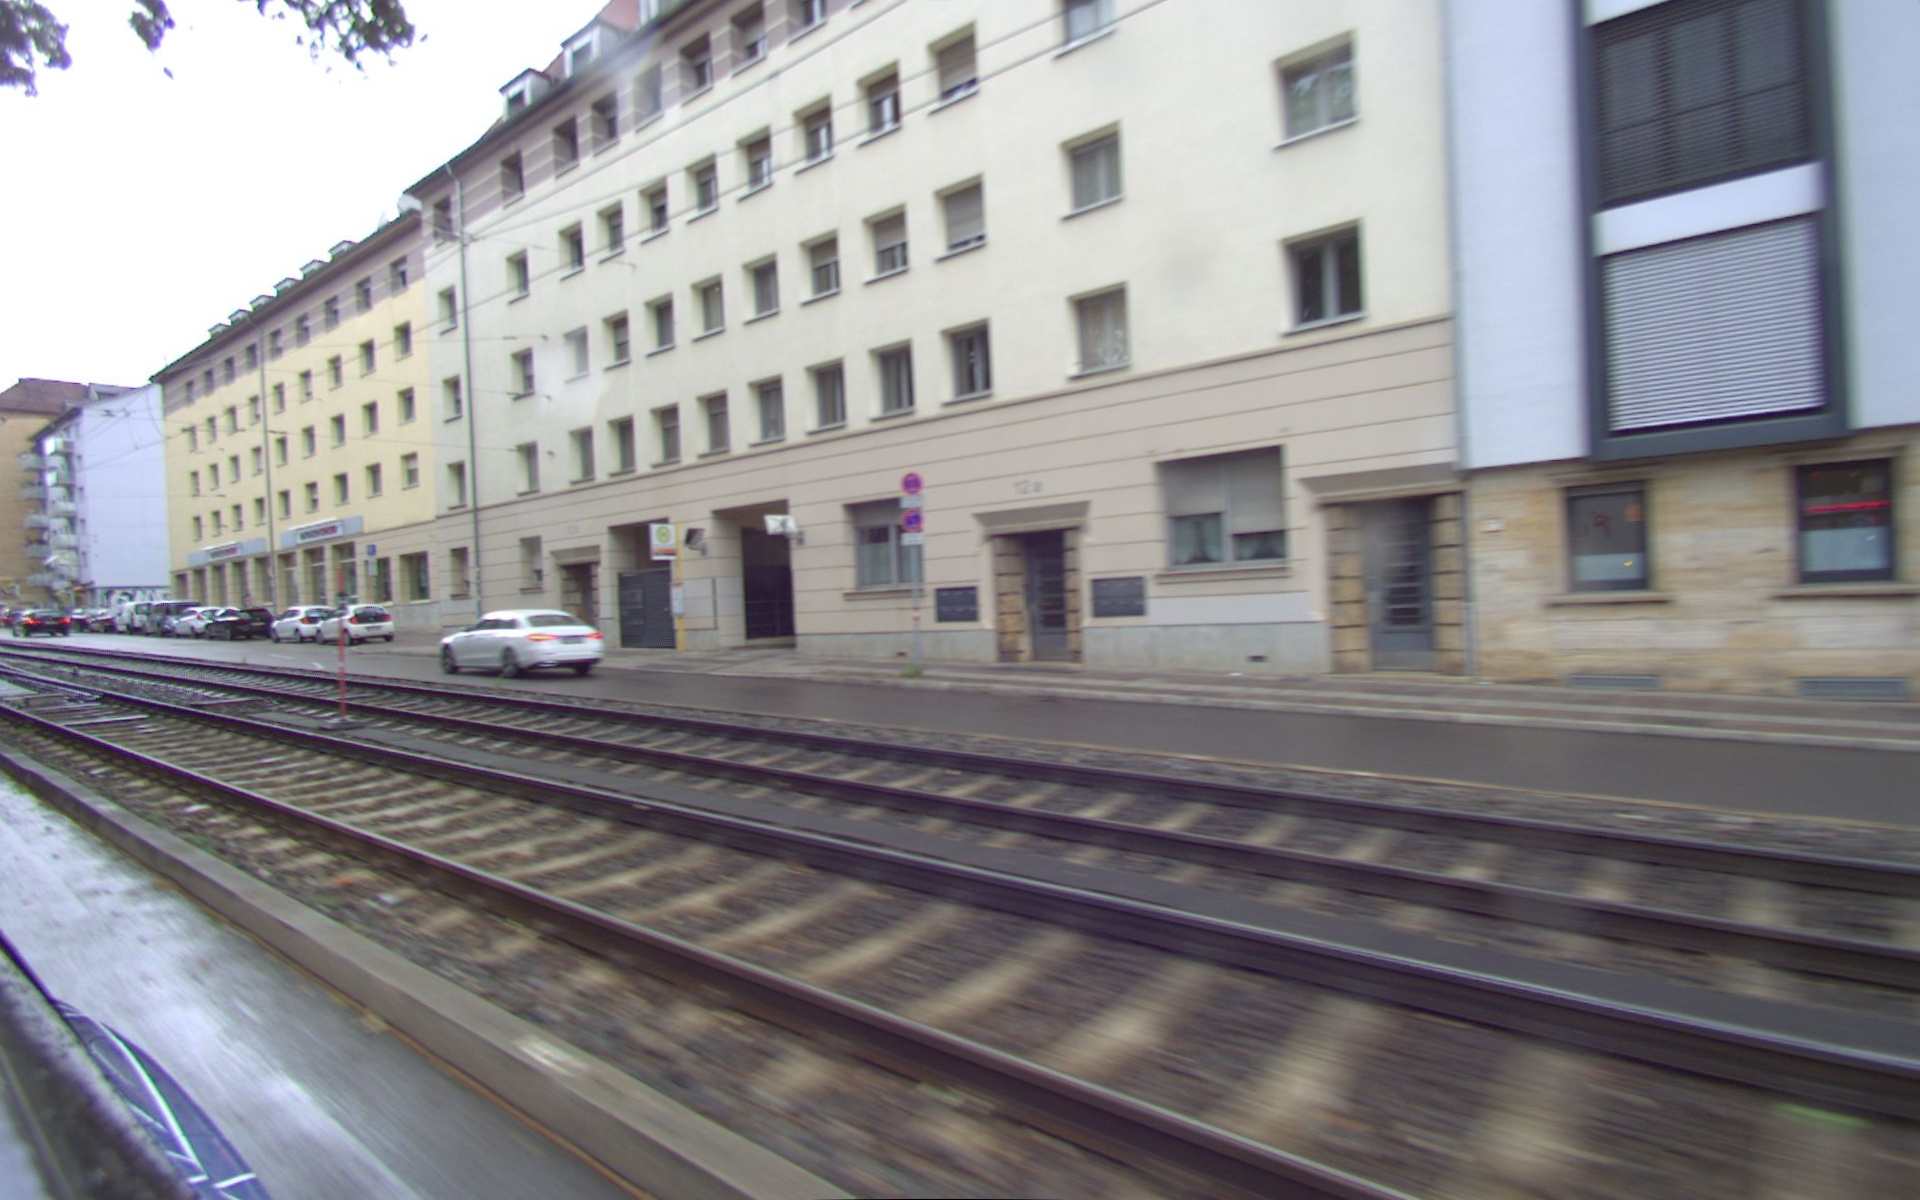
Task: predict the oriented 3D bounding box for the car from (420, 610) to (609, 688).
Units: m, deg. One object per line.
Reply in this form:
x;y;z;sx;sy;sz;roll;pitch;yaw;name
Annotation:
-9.958;1.026;22.440;5.010;1.548;1.671;-1;-1;38;car

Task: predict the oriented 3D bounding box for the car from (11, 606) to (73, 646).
-49.274;1.364;54.274;3.996;2.029;1.925;0;0;40;car

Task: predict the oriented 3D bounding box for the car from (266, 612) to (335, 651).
-26.769;1.240;41.067;3.185;1.495;1.311;0;0;36;car

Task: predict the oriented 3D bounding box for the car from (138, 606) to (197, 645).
-40.498;1.274;51.701;4.037;1.897;1.538;0;0;39;car

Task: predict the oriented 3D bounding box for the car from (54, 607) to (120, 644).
-50.180;1.453;58.163;4.219;2.029;2.007;0;0;36;car

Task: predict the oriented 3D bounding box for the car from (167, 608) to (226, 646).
-36.747;1.281;48.701;3.399;1.766;1.361;0;0;36;car

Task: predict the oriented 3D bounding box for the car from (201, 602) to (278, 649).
-32.323;1.103;45.351;4.294;1.975;1.708;0;0;38;car

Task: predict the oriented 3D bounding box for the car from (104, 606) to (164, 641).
-45.346;1.273;55.550;3.585;1.822;1.707;0;0;36;car

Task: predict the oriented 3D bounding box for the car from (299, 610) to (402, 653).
-23.246;1.153;38.557;3.992;1.554;2.007;0;0;36;car
